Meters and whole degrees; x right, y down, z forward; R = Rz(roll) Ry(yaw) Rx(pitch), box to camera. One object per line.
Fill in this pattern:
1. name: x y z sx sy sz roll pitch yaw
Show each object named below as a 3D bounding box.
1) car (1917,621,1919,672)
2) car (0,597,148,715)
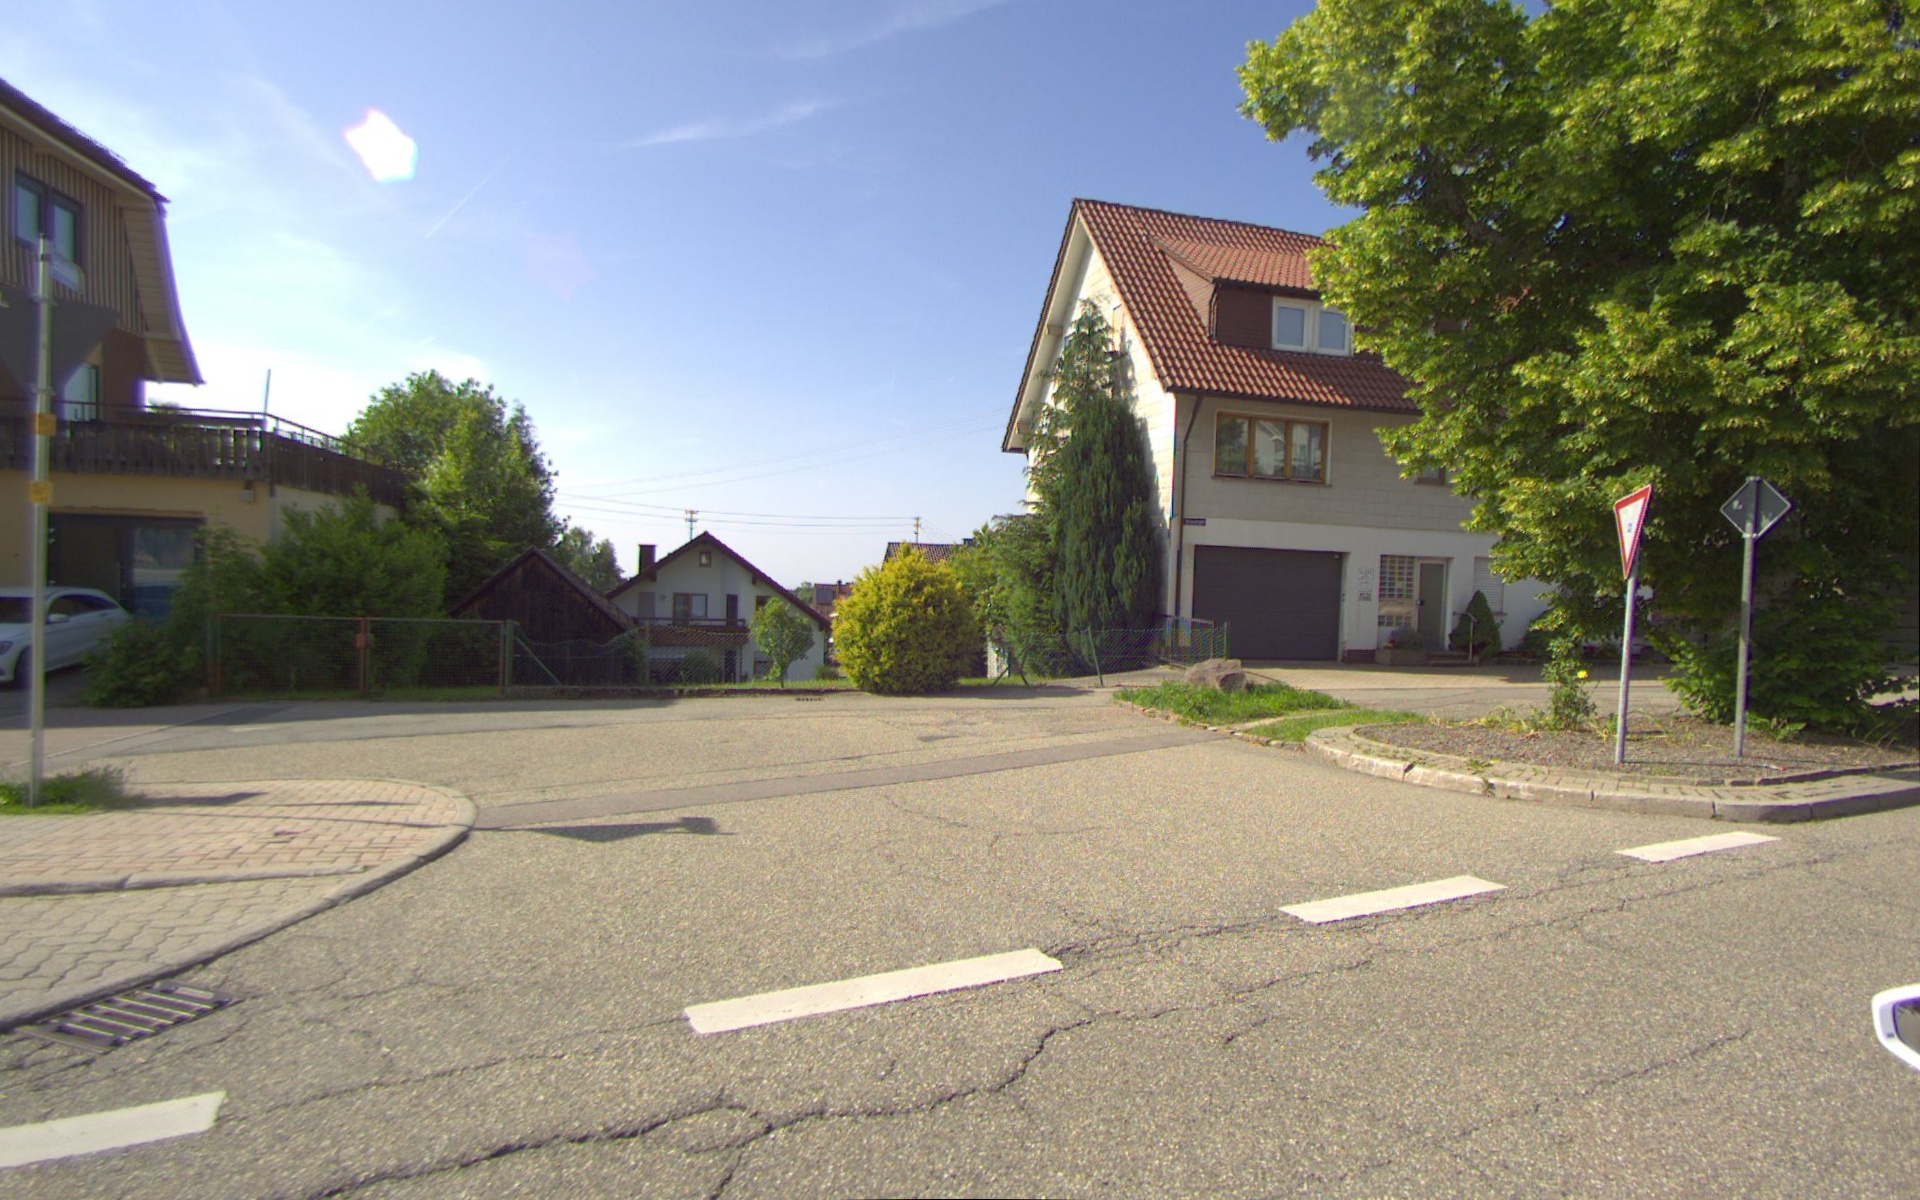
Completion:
1. car: 28.849 1.380 27.264 1.788 1.472 3.760 6 -3 -15
2. car: -15.545 0.824 16.601 1.771 1.531 4.299 3 1 -17
